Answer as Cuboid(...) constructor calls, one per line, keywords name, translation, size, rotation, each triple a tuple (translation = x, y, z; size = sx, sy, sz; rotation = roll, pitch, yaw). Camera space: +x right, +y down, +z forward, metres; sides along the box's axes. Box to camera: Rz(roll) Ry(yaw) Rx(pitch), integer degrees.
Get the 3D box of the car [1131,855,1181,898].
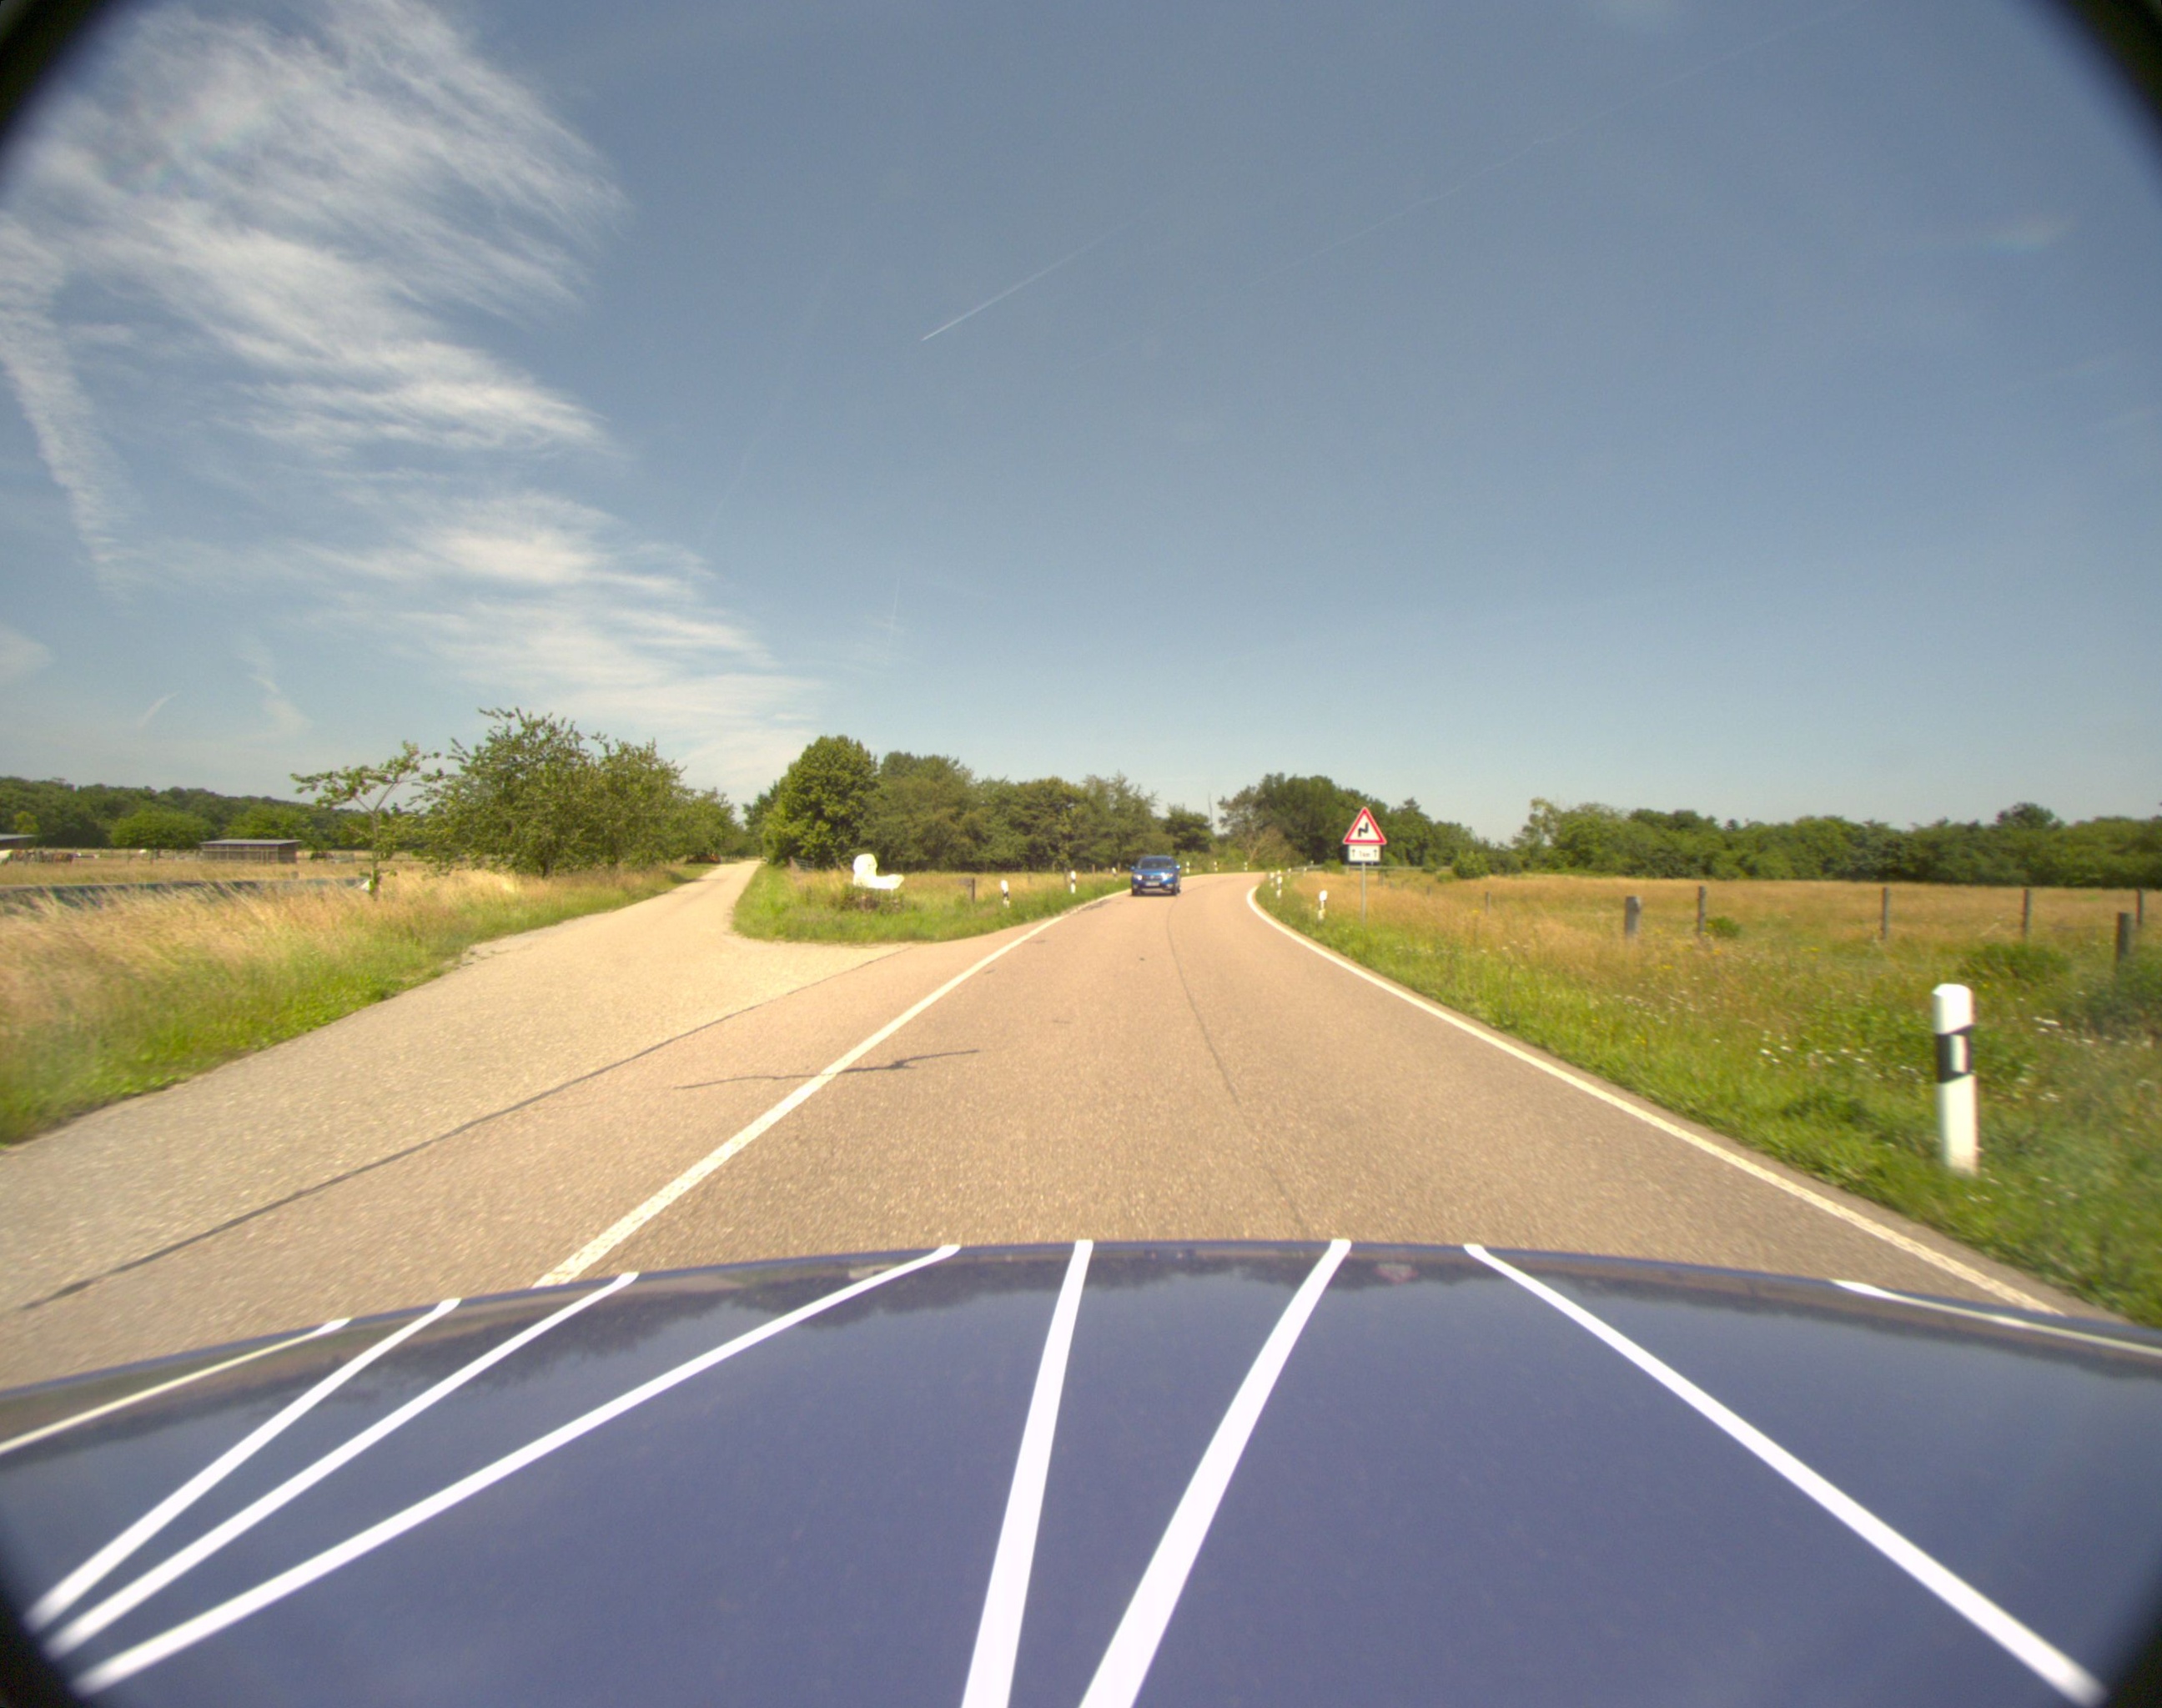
Cuboid(name="car", translation=(3.069, 0.860, 30.391), size=(1.733, 1.572, 4.003), rotation=(-1, 0, 9))
